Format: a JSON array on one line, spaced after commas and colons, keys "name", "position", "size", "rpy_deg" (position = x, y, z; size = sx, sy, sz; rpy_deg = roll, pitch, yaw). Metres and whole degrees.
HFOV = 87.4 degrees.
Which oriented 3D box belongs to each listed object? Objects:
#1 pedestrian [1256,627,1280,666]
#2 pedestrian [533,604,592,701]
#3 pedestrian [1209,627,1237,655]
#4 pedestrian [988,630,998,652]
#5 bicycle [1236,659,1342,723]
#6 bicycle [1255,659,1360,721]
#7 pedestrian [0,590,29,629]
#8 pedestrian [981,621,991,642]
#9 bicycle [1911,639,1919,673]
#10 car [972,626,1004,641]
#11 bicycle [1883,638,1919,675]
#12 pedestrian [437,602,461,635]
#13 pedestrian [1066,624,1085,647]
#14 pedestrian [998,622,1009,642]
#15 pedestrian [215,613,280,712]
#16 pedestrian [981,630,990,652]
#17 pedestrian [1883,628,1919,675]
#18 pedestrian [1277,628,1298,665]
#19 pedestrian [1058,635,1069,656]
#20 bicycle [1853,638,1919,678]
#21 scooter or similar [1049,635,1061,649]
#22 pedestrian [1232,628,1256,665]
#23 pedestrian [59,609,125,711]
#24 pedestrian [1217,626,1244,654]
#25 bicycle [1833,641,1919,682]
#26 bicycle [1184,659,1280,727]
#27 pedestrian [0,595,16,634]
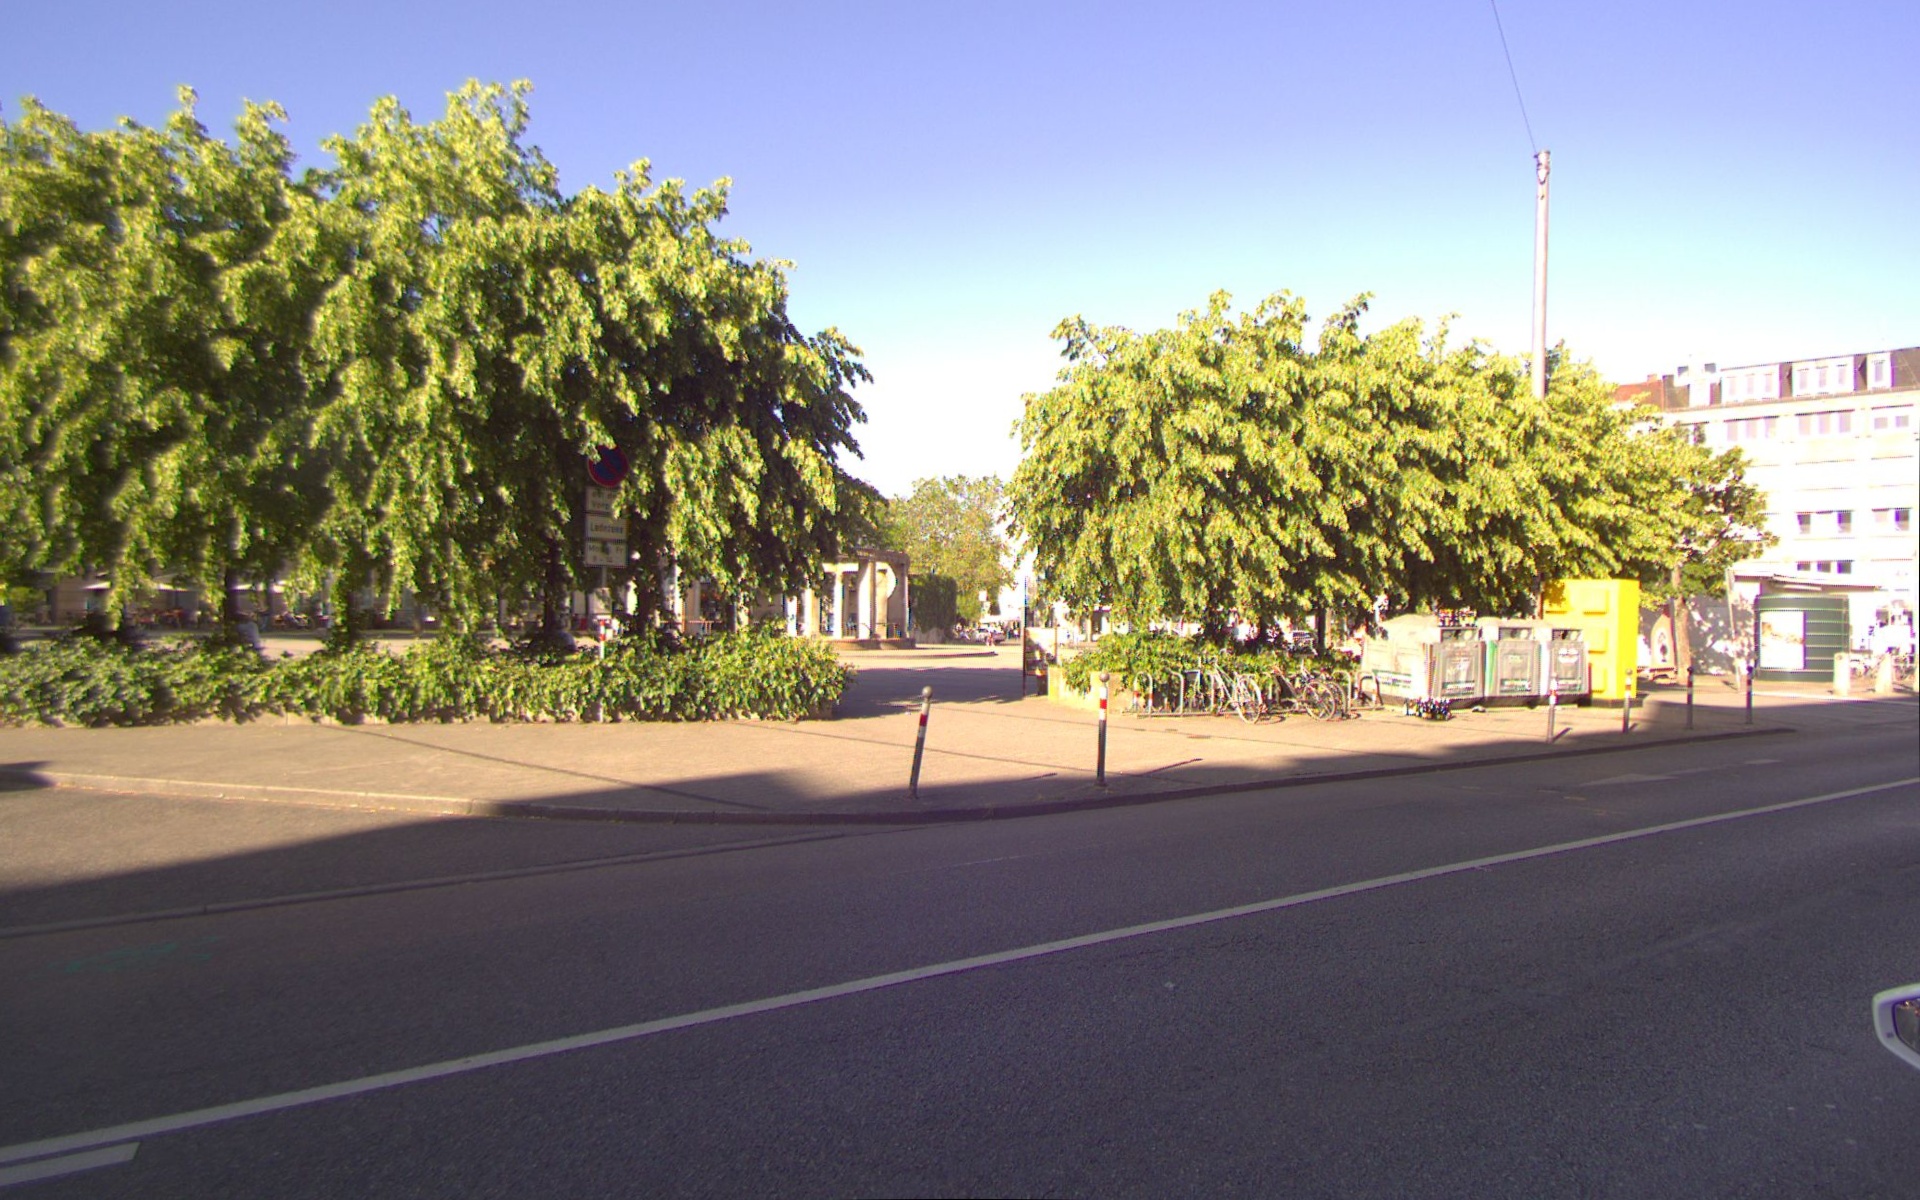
[{"name": "pedestrian", "position": [12.889, 1.935, 42.021], "size": [0.761, 1.541, 0.838], "rpy_deg": [2, 0, 6]}, {"name": "pedestrian", "position": [-6.551, 0.847, 16.555], "size": [0.688, 1.541, 0.676], "rpy_deg": [2, 0, -41]}, {"name": "pedestrian", "position": [12.062, 1.870, 46.117], "size": [0.855, 1.230, 0.933], "rpy_deg": [2, 0, -15]}, {"name": "pedestrian", "position": [2.393, 2.941, 72.261], "size": [0.568, 1.544, 0.625], "rpy_deg": [2, 0, -8]}, {"name": "bicycle", "position": [5.276, 1.443, 16.191], "size": [0.465, 0.870, 1.659], "rpy_deg": [2, 0, -35]}, {"name": "bicycle", "position": [5.675, 1.453, 16.486], "size": [0.465, 0.870, 1.654], "rpy_deg": [2, 0, -35]}, {"name": "pedestrian", "position": [-39.019, 0.395, 41.352], "size": [0.680, 1.550, 0.684], "rpy_deg": [2, 0, 1]}, {"name": "pedestrian", "position": [2.603, 3.215, 102.063], "size": [0.836, 2.040, 0.855], "rpy_deg": [2, 0, 10]}, {"name": "bicycle", "position": [37.247, 2.153, 37.282], "size": [0.932, 1.276, 2.648], "rpy_deg": [2, 0, -32]}, {"name": "car", "position": [2.614, 3.058, 92.551], "size": [2.710, 1.283, 1.240], "rpy_deg": [2, 0, 36]}, {"name": "bicycle", "position": [35.263, 2.082, 36.138], "size": [0.932, 1.287, 2.859], "rpy_deg": [2, 0, -32]}, {"name": "pedestrian", "position": [-24.194, 0.883, 47.583], "size": [0.725, 1.550, 0.694], "rpy_deg": [2, 0, 10]}, {"name": "pedestrian", "position": [9.765, 2.992, 84.757], "size": [1.277, 1.867, 1.100], "rpy_deg": [2, 0, 28]}, {"name": "pedestrian", "position": [4.472, 3.278, 103.580], "size": [0.837, 2.040, 0.854], "rpy_deg": [2, 0, 25]}, {"name": "pedestrian", "position": [-10.850, 0.934, 15.307], "size": [0.581, 1.456, 0.615], "rpy_deg": [2, 0, 33]}, {"name": "pedestrian", "position": [1.827, 2.923, 72.186], "size": [0.568, 1.544, 0.625], "rpy_deg": [2, 0, -8]}, {"name": "pedestrian", "position": [34.288, 1.855, 36.065], "size": [1.076, 1.633, 1.265], "rpy_deg": [2, 0, -7]}, {"name": "pedestrian", "position": [13.685, 1.951, 41.975], "size": [0.598, 1.528, 0.557], "rpy_deg": [2, 0, -15]}, {"name": "pedestrian", "position": [7.700, 3.360, 74.528], "size": [0.614, 1.544, 0.579], "rpy_deg": [2, 0, 25]}, {"name": "bicycle", "position": [33.145, 2.038, 35.072], "size": [0.923, 1.291, 2.764], "rpy_deg": [2, 0, -32]}, {"name": "scooter or similar", "position": [7.065, 3.130, 74.831], "size": [0.775, 0.970, 0.464], "rpy_deg": [2, 0, 25]}, {"name": "pedestrian", "position": [12.107, 1.974, 42.857], "size": [0.904, 1.541, 0.936], "rpy_deg": [2, 0, 15]}, {"name": "pedestrian", "position": [-12.857, 0.871, 14.890], "size": [0.615, 1.456, 0.647], "rpy_deg": [2, 0, -32]}, {"name": "pedestrian", "position": [12.604, 1.866, 46.827], "size": [0.885, 1.230, 0.864], "rpy_deg": [2, 0, -15]}, {"name": "bicycle", "position": [31.222, 2.062, 33.769], "size": [0.932, 1.211, 2.645], "rpy_deg": [2, 0, -32]}, {"name": "bicycle", "position": [4.176, 1.411, 15.533], "size": [0.464, 0.897, 1.558], "rpy_deg": [2, 0, -29]}, {"name": "pedestrian", "position": [-38.739, 0.571, 40.505], "size": [0.680, 1.545, 0.684], "rpy_deg": [2, 0, 0]}]
